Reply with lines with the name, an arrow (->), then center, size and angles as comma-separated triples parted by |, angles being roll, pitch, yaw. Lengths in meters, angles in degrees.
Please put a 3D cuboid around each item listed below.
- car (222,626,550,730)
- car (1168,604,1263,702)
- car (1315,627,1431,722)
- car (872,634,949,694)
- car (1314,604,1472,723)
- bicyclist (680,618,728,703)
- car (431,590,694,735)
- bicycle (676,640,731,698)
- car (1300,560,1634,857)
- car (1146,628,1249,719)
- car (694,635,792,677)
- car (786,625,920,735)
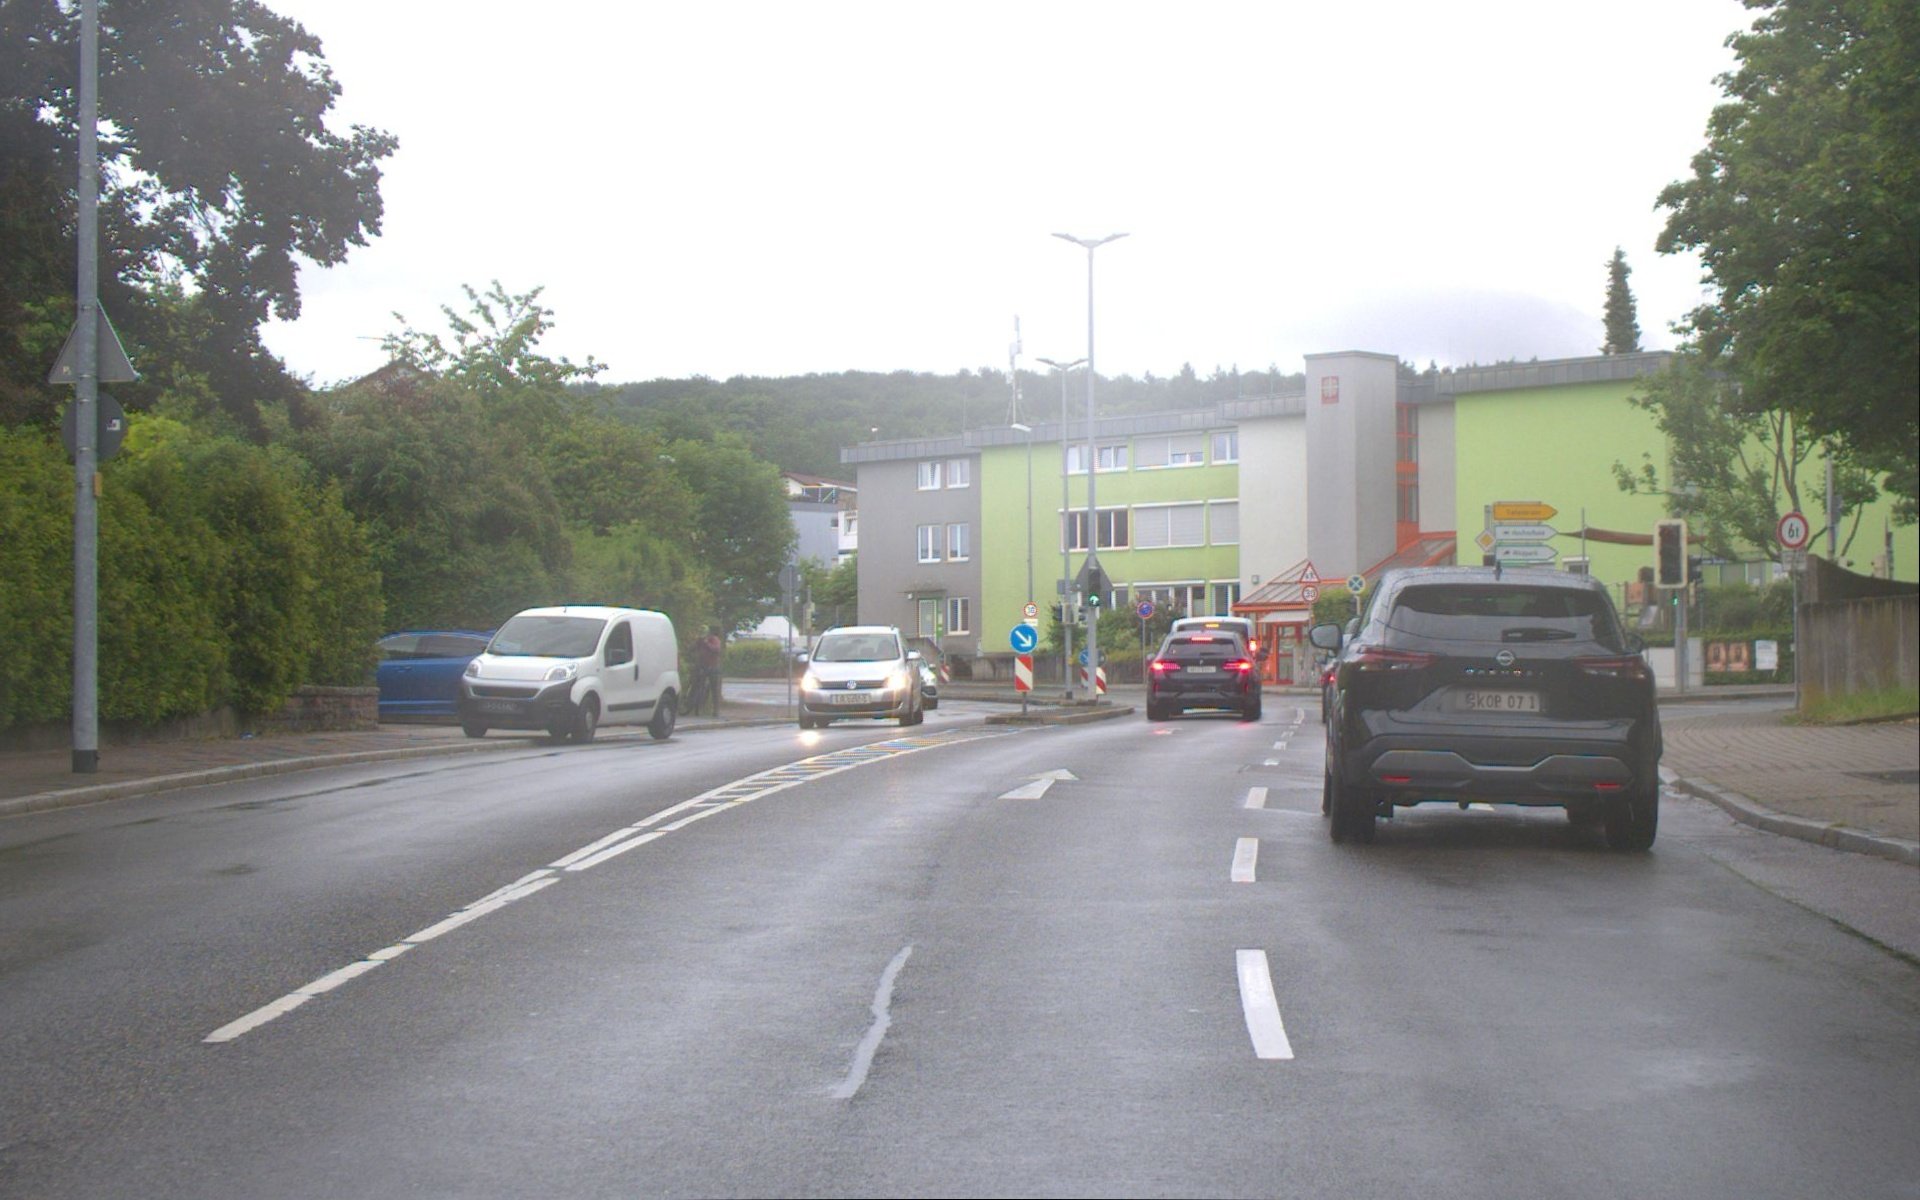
car -> -8.377, 1.133, 50.407 | 4.482, 1.357, 1.805 | 2, 0, 0
car -> 5.027, 1.008, 67.233 | 1.717, 1.838, 4.085 | 0, 0, 6
car -> 6.558, 1.160, 54.311 | 1.707, 1.422, 4.507 | -1, -1, 8
car -> -1.463, 1.902, 103.358 | 2.041, 1.710, 4.481 | -2, -1, 2
car -> 5.640, 0.812, 45.186 | 1.905, 1.454, 4.777 | -1, 0, 6
bicyclist -> -4.912, 1.157, 65.967 | 0.764, 1.606, 0.868 | 0, -1, 5
car -> -5.043, 0.807, 44.167 | 1.702, 1.702, 3.974 | 3, 0, 20
bicycle -> -4.907, 1.328, 65.887 | 0.747, 1.083, 1.989 | 1, -2, 5
car -> 3.003, 0.563, 20.738 | 1.790, 1.598, 4.252 | 0, 1, 7
car -> 4.096, 1.238, 58.904 | 1.683, 1.501, 3.773 | 0, 0, 5
car -> -10.440, 2.689, 165.202 | 4.393, 1.766, 2.000 | -3, -2, -11
car -> -1.634, 1.222, 53.710 | 1.635, 1.574, 4.056 | -3, -1, 4
